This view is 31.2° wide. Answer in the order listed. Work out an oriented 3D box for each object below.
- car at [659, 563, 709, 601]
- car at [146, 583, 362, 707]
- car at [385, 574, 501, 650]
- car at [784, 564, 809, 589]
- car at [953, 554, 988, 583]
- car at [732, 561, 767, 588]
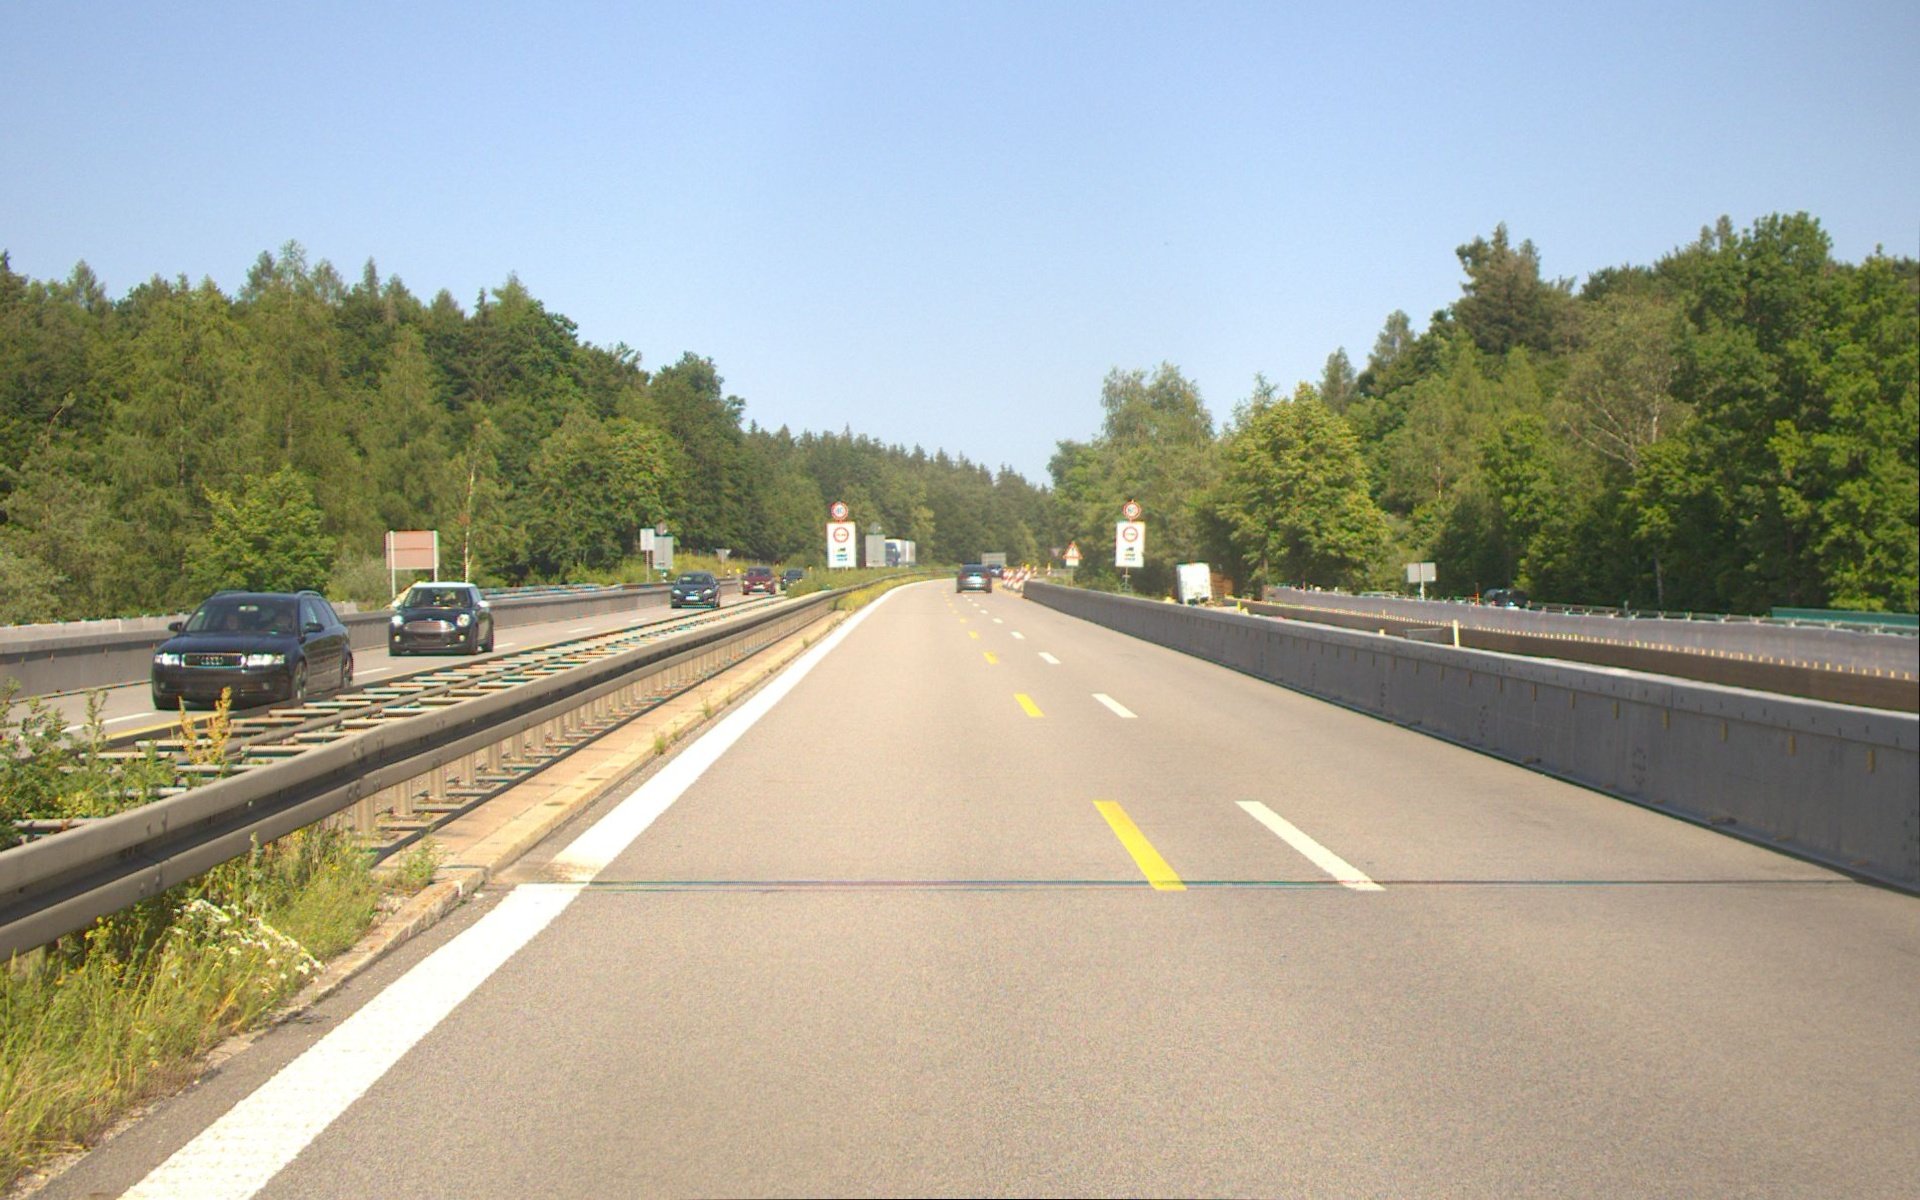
[{"bbox_3d":[-11.315,-0.755,141.181,1.744,1.461,4.910,-1,1,-1],"label":"car"},{"bbox_3d":[-8.691,0.519,42.713,1.646,1.372,4.808,-1,1,0],"label":"car"},{"bbox_3d":[-10.137,0.211,67.580,1.682,1.388,4.193,-1,1,-1],"label":"car"},{"bbox_3d":[-11.383,-1.622,238.917,1.527,1.557,3.454,-3,-1,-1],"label":"car"},{"bbox_3d":[0.538,-1.637,179.494,1.744,1.461,4.294,-1,1,-1],"label":"car"},{"bbox_3d":[-12.022,-1.454,196.531,1.744,1.461,4.294,-1,1,-1],"label":"car"}]
